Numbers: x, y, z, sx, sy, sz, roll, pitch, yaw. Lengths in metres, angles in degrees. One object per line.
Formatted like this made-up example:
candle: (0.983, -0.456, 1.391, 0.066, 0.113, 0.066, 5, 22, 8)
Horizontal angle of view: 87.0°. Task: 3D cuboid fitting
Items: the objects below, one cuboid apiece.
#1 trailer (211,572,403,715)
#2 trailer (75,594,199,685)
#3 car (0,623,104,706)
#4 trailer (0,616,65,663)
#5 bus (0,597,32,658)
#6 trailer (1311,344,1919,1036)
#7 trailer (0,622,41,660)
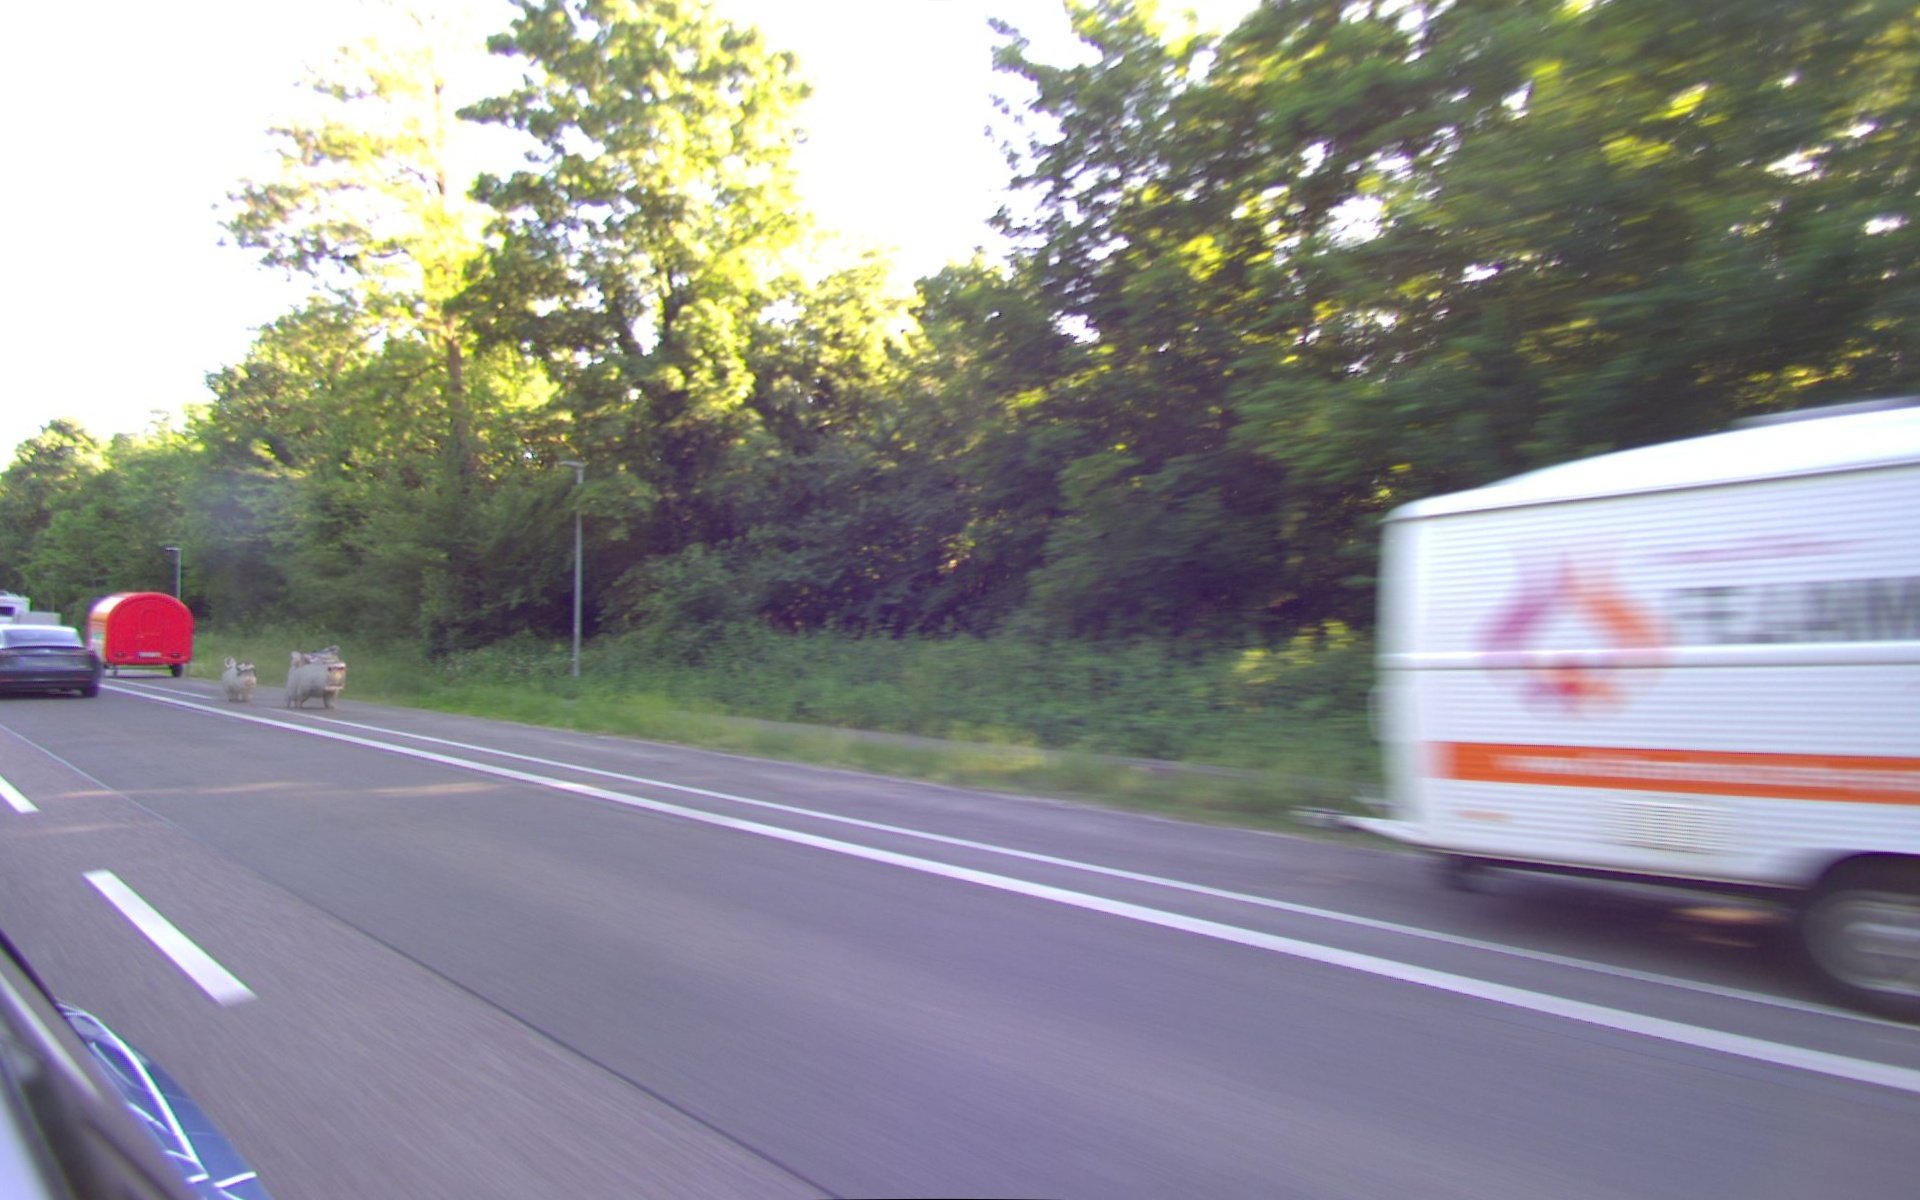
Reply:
trailer: (-12.688, 0.817, 19.624, 3.556, 2.499, 2.046, -1, -2, 38)
trailer: (-24.143, 1.134, 29.676, 3.556, 2.499, 2.046, -1, -2, 38)
car: (-19.185, 1.246, 20.759, 4.528, 1.544, 1.800, -1, -2, 41)
trailer: (-42.071, 1.807, 45.827, 3.560, 2.029, 1.833, -2, -5, 42)
bus: (-58.653, 1.612, 61.003, 11.195, 3.457, 2.798, -1, -1, 41)
trailer: (4.196, 0.355, 4.692, 4.338, 2.548, 2.323, -1, -2, 38)
trailer: (-52.127, 2.223, 55.126, 6.261, 1.929, 2.403, -2, -1, 41)
